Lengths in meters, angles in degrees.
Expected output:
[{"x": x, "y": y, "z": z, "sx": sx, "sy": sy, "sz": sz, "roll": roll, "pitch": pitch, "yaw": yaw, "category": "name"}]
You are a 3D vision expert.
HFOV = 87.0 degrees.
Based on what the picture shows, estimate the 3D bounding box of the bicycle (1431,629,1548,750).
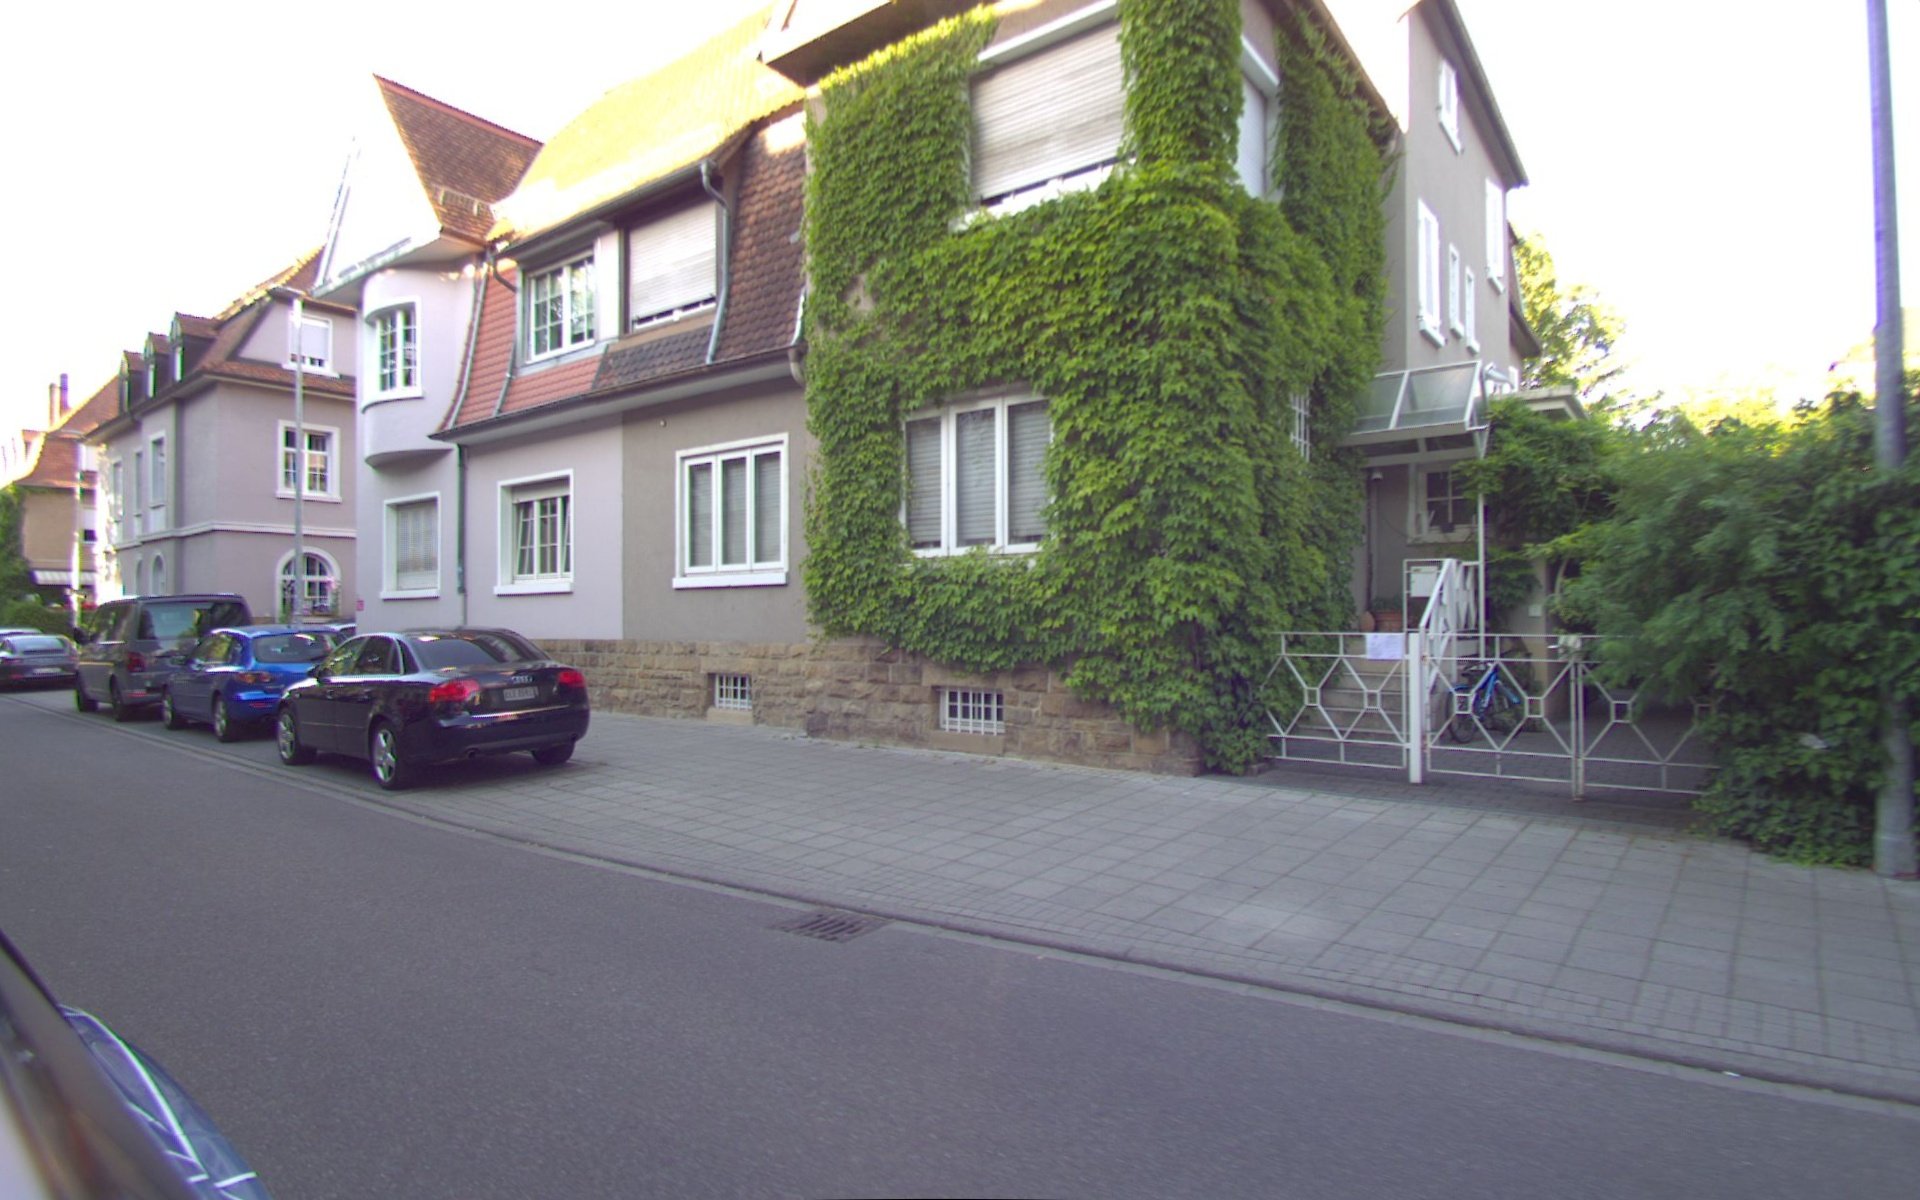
[{"x": 5.622, "y": 0.887, "z": 10.676, "sx": 0.476, "sy": 1.111, "sz": 2.172, "roll": -2, "pitch": -1, "yaw": 44, "category": "bicycle"}]

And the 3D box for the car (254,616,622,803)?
[{"x": -5.490, "y": 0.956, "z": 10.373, "sx": 4.425, "sy": 1.457, "sz": 1.783, "roll": -2, "pitch": 0, "yaw": 40, "category": "car"}]

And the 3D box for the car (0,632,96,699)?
[{"x": -22.419, "y": 1.527, "z": 24.448, "sx": 4.062, "sy": 1.394, "sz": 1.907, "roll": -2, "pitch": 0, "yaw": 43, "category": "car"}]

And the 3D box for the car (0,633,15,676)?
[{"x": -32.694, "y": 1.835, "z": 33.529, "sx": 3.675, "sy": 1.372, "sz": 1.641, "roll": -2, "pitch": 0, "yaw": 41, "category": "car"}]

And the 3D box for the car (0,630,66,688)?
[{"x": -26.477, "y": 1.611, "z": 28.130, "sx": 4.060, "sy": 1.478, "sz": 1.908, "roll": -2, "pitch": 0, "yaw": 41, "category": "car"}]

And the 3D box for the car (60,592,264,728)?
[{"x": -13.701, "y": 0.938, "z": 17.279, "sx": 4.609, "sy": 1.990, "sz": 1.819, "roll": -2, "pitch": 0, "yaw": 40, "category": "car"}]

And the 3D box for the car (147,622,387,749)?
[{"x": -9.773, "y": 1.083, "z": 14.157, "sx": 4.059, "sy": 1.457, "sz": 1.745, "roll": -2, "pitch": 0, "yaw": 40, "category": "car"}]
